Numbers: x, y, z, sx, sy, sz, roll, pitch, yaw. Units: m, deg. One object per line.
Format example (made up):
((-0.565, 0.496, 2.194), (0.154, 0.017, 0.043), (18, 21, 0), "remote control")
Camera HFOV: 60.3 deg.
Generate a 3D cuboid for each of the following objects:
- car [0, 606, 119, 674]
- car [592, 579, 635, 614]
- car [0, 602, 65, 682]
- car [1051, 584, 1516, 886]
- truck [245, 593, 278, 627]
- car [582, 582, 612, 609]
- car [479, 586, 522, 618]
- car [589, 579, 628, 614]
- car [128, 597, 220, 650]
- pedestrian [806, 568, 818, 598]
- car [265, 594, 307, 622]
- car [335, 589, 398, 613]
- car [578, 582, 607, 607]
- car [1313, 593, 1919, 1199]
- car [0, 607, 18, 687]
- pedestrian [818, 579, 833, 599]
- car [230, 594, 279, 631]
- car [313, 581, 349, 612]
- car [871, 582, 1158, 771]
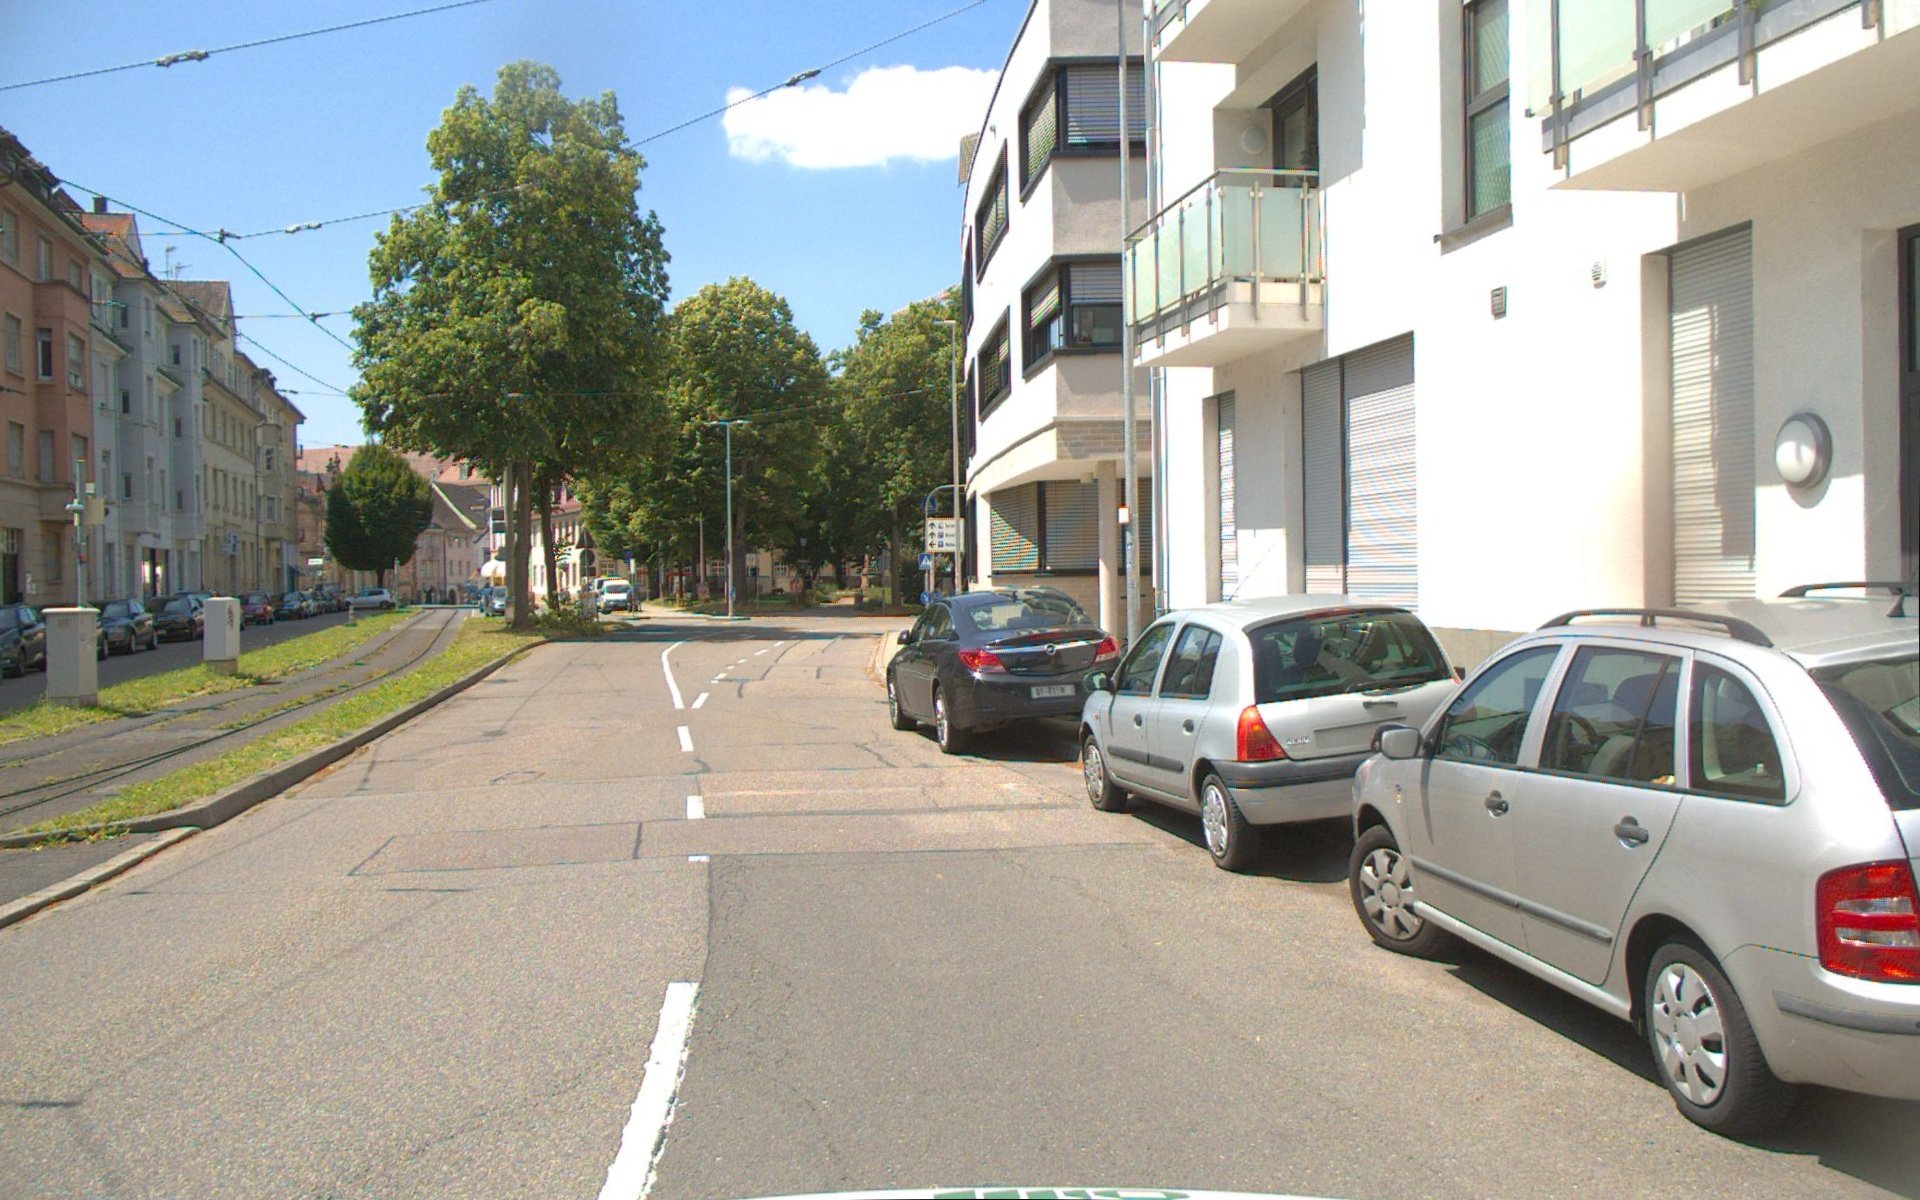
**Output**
((-21.643, 0.915, 39.694), (1.801, 1.424, 4.124), (-2, 1, -16), "car")
((-19.153, -0.228, 91.393), (1.962, 1.858, 4.402), (0, 1, -17), "car")
((-20.489, 0.872, 35.036), (1.898, 1.531, 4.303), (-2, 1, -18), "car")
((1.844, 0.707, 10.618), (1.565, 1.457, 3.696), (-5, 1, -11), "car")
((-33.066, 0.461, 78.335), (1.108, 1.520, 2.582), (-3, 1, -17), "truck")
((-23.434, -0.309, 106.683), (1.753, 1.652, 4.468), (0, 1, -15), "car")
((-22.981, 0.062, 82.640), (1.874, 1.560, 4.221), (0, 0, -18), "car")
((-21.181, -0.258, 99.467), (2.015, 2.037, 5.228), (0, 1, -15), "car")
((-25.780, 0.720, 54.387), (1.897, 1.516, 4.841), (-3, 1, -16), "car")
((-9.459, -1.092, 105.745), (0.732, 1.944, 0.684), (0, 2, -1), "pedestrian")
((-36.133, 0.399, 88.761), (1.659, 1.383, 3.840), (-3, 1, -16), "car")
((-42.466, 0.051, 118.392), (4.142, 1.531, 1.992), (-3, 1, -21), "car")
((-25.213, -0.393, 113.500), (1.753, 1.723, 4.183), (0, 1, -15), "car")
((2.768, 0.775, 5.757), (1.694, 1.457, 4.036), (-5, 1, -7), "car")
((-18.683, 0.951, 29.937), (1.898, 1.476, 4.353), (-4, 2, -18), "car")
((-8.621, -0.713, 105.733), (0.887, 1.273, 1.148), (0, 2, -1), "pedestrian")
((-31.655, 0.542, 74.276), (1.546, 1.476, 3.609), (-3, 1, -16), "car")
((-42.668, -0.263, 112.269), (1.824, 1.944, 4.750), (-3, 1, -16), "car")
((0.388, 0.685, 17.050), (1.769, 1.535, 4.532), (-5, 1, -13), "car")
